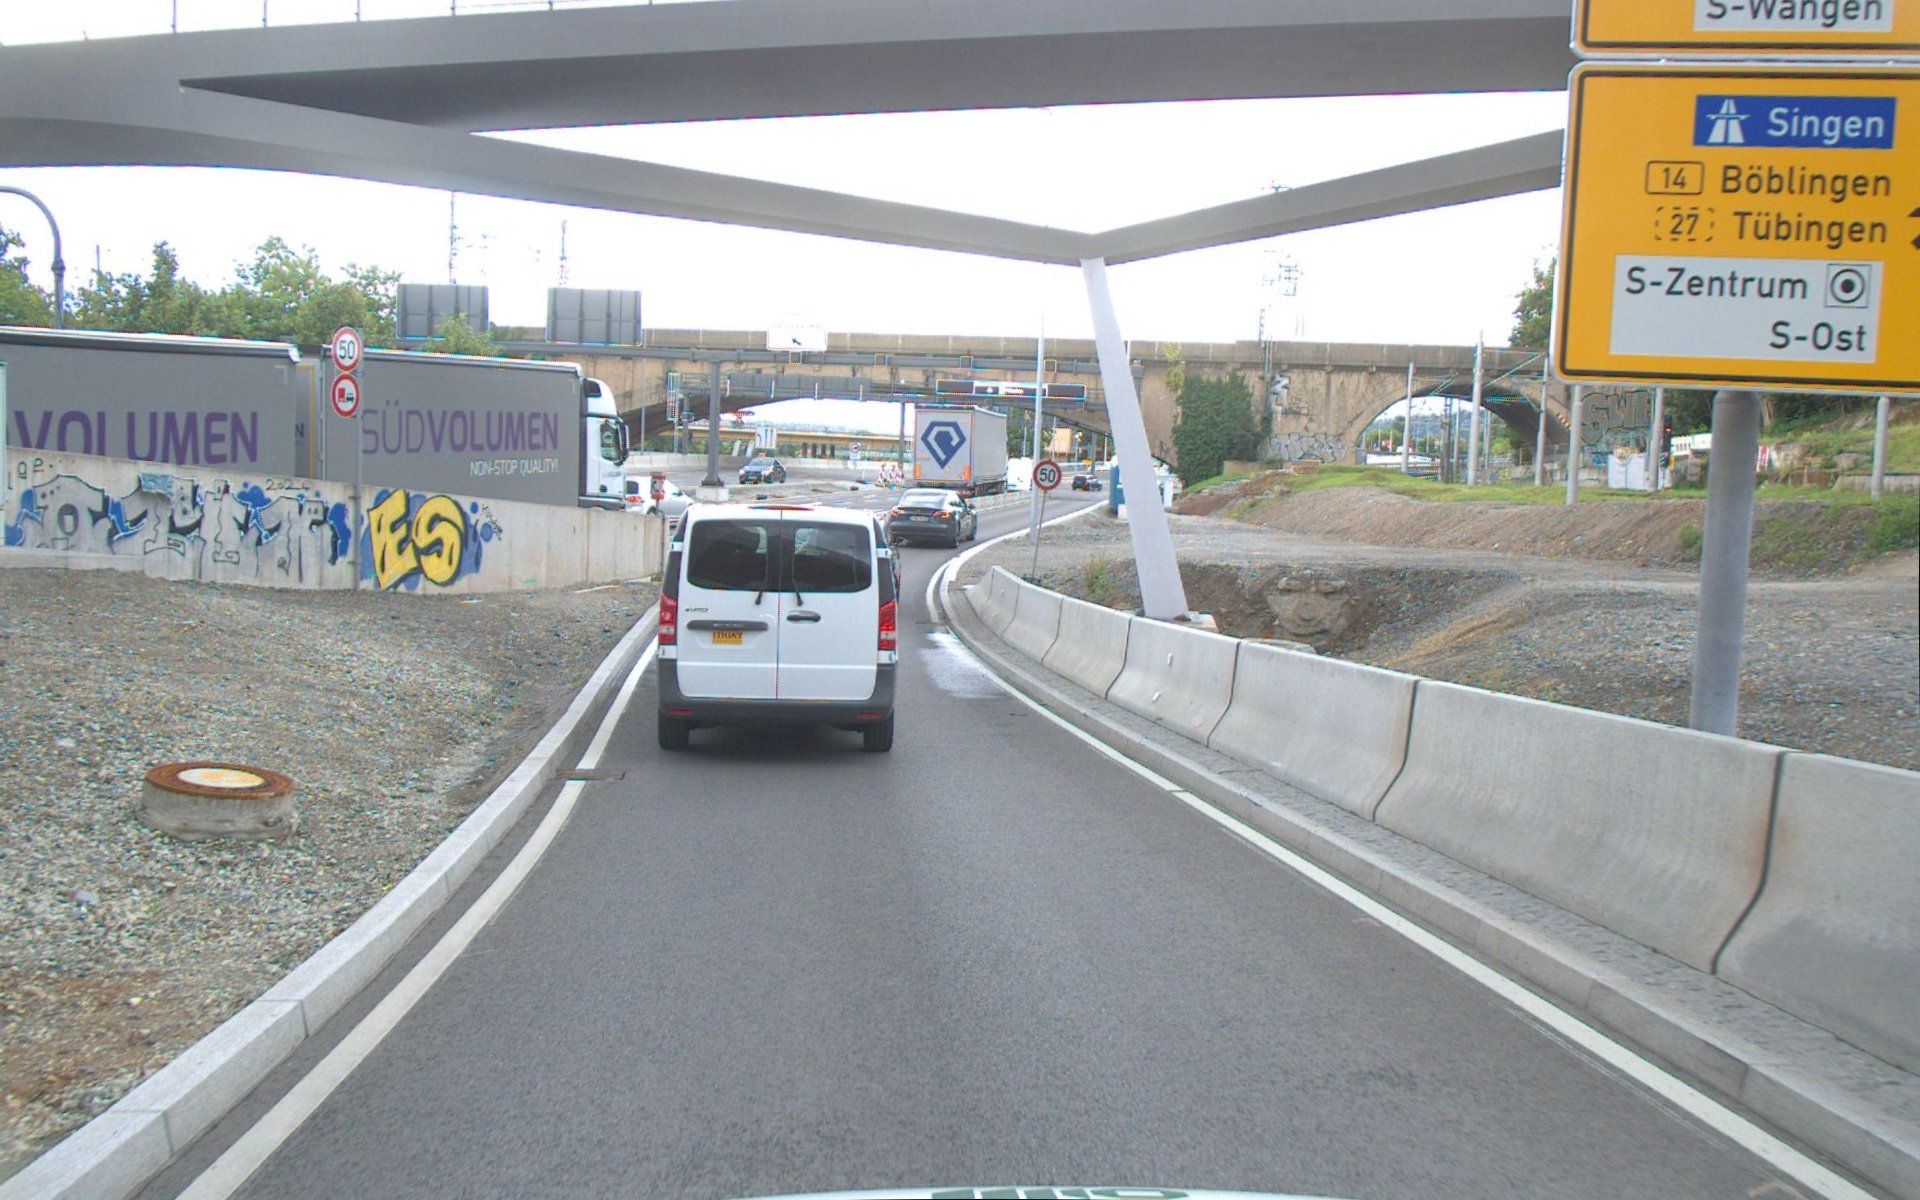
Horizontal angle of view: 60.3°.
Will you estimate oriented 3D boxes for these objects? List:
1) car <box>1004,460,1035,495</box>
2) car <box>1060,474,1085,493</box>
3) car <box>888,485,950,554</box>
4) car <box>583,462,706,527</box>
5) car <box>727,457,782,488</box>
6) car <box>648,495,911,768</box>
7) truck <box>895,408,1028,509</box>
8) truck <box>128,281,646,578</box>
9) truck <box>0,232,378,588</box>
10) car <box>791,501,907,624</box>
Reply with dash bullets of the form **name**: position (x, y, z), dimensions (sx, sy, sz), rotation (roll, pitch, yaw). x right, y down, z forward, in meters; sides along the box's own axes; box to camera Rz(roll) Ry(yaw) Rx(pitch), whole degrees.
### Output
- **car**: position (4.170, -8.526, 115.200), dimensions (1.858, 2.152, 4.489), rotation (4, 3, 4)
- **car**: position (10.571, -10.982, 155.737), dimensions (1.592, 1.612, 3.997), rotation (4, 3, -5)
- **car**: position (-1.048, -2.159, 43.801), dimensions (1.470, 1.493, 3.402), rotation (3, 7, 0)
- **car**: position (-8.730, -2.905, 46.101), dimensions (1.951, 1.578, 4.004), rotation (4, 3, 11)
- **car**: position (-11.390, -7.084, 91.917), dimensions (1.781, 1.478, 4.004), rotation (4, 3, 11)
- **car**: position (-1.484, 0.164, 14.261), dimensions (1.839, 1.923, 4.749), rotation (1, 2, -5)
- **truck**: position (0.376, -6.424, 75.523), dimensions (3.247, 3.872, 16.617), rotation (5, 5, 9)
- **truck**: position (-9.604, -2.838, 29.953), dimensions (2.925, 4.246, 11.252), rotation (4, 4, 15)
- **truck**: position (-11.898, -2.380, 21.385), dimensions (2.856, 4.084, 10.211), rotation (4, 4, 15)
- **car**: position (-1.840, -0.713, 28.457), dimensions (1.714, 1.651, 3.847), rotation (4, 7, -1)
